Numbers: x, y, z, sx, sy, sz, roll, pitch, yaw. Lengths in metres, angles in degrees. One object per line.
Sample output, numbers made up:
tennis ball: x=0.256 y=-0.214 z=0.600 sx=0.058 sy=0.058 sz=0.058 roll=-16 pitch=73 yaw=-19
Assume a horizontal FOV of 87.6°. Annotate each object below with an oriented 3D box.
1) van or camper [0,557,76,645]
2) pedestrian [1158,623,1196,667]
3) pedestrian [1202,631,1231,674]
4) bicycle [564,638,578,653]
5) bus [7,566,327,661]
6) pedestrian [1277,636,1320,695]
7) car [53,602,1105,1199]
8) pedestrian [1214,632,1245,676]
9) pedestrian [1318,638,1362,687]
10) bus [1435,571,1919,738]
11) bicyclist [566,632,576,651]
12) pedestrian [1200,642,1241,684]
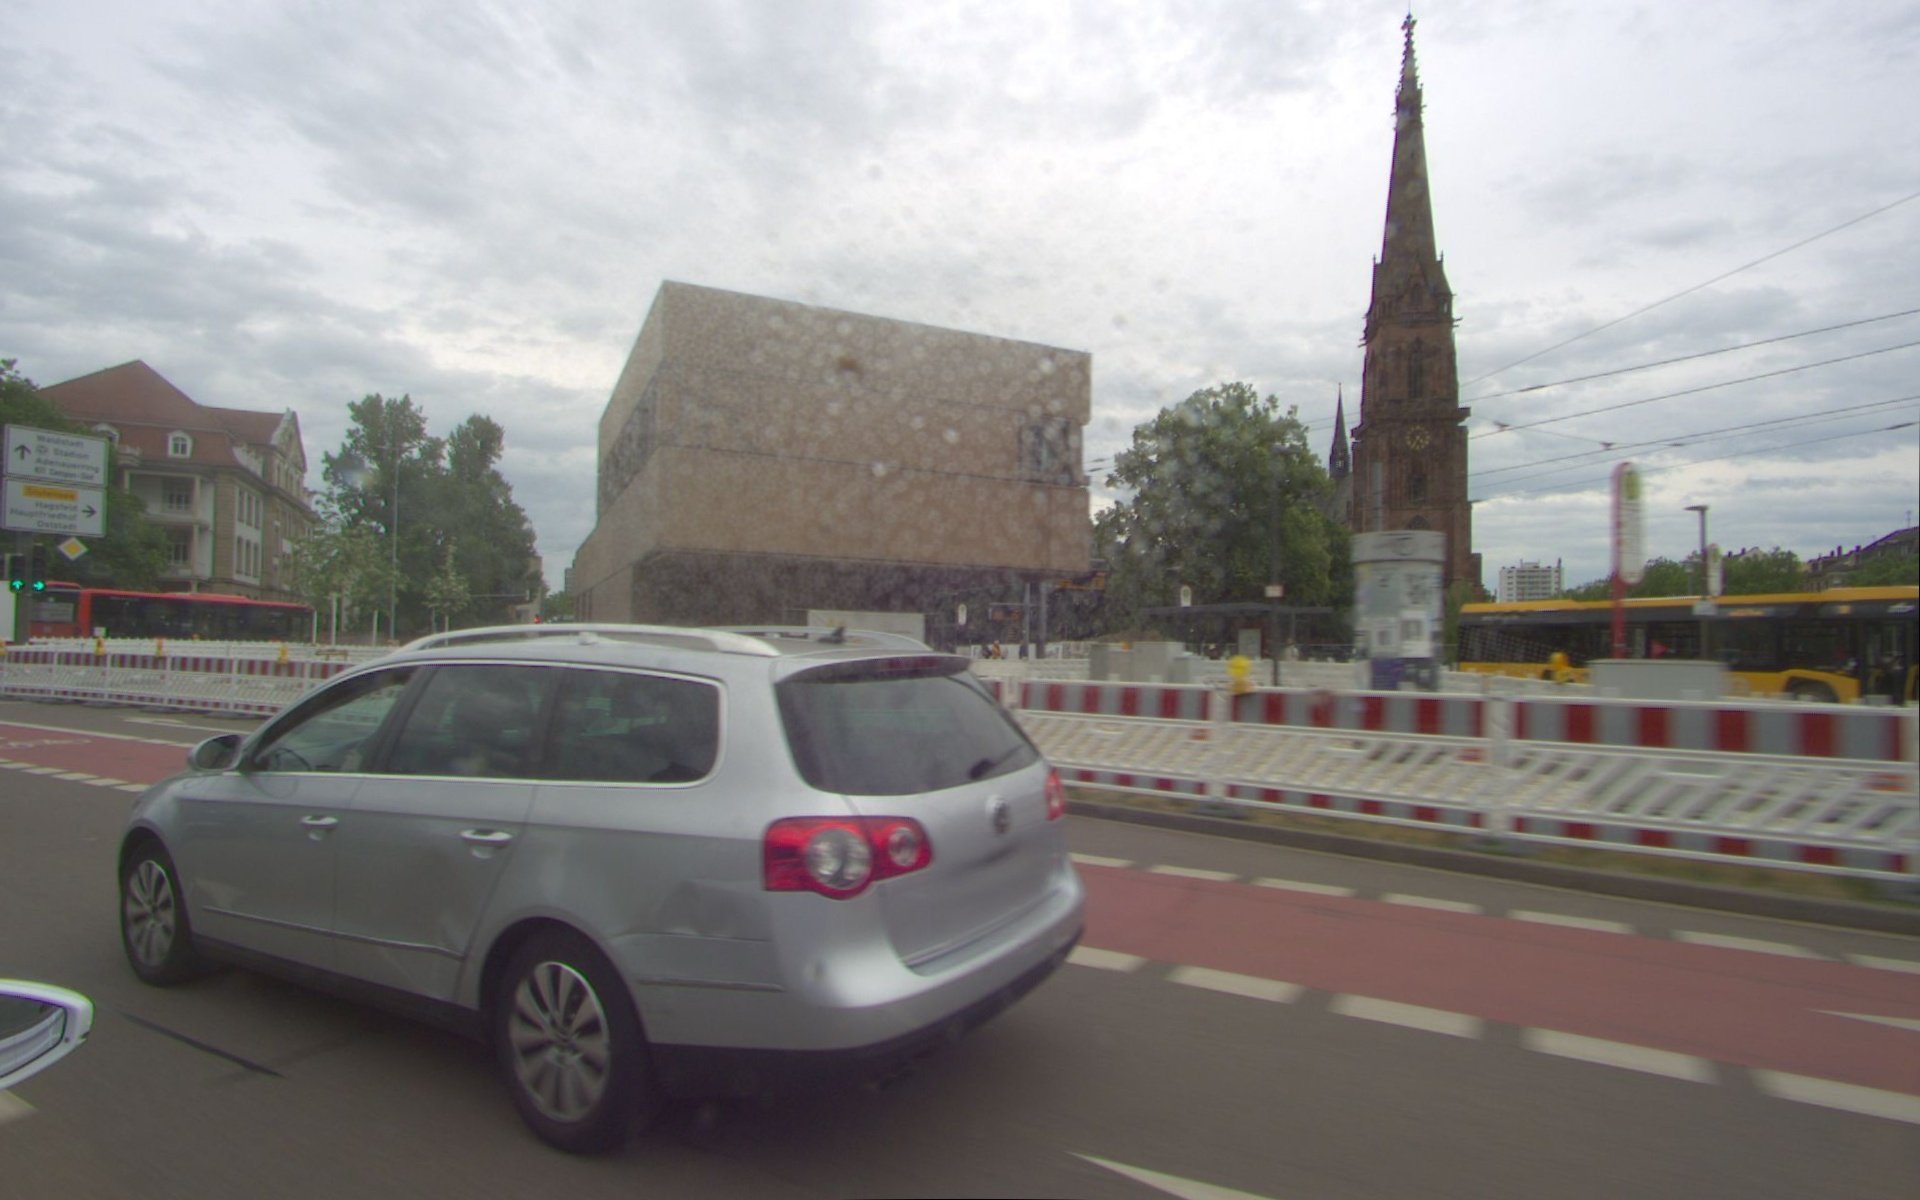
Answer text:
van or camper: x=-38.659 y=0.032 z=38.244 sx=2.822 sy=3.374 sz=7.152 roll=-1 pitch=-2 yaw=10
pedestrian: x=8.023 y=1.650 z=37.071 sx=1.004 sy=1.596 sz=1.005 roll=1 pitch=-1 yaw=-21
pedestrian: x=10.024 y=2.037 z=39.196 sx=0.780 sy=1.666 sz=0.799 roll=1 pitch=-1 yaw=-20
bicycle: x=-33.517 y=3.908 z=86.310 sx=0.617 sy=1.244 sz=1.551 roll=1 pitch=-1 yaw=-1
bus: x=-32.198 y=0.748 z=41.894 sx=3.008 sy=3.339 sz=12.387 roll=1 pitch=-2 yaw=3
pedestrian: x=10.714 y=2.063 z=31.688 sx=0.812 sy=1.831 sz=1.019 roll=1 pitch=-1 yaw=-20
car: x=-1.846 y=0.778 z=4.200 sx=4.561 sy=1.501 sz=1.717 roll=0 pitch=-1 yaw=32
pedestrian: x=10.238 y=2.049 z=38.056 sx=0.772 sy=1.666 sz=0.918 roll=1 pitch=-1 yaw=-20
pedestrian: x=13.300 y=2.187 z=35.059 sx=0.990 sy=1.666 sz=1.019 roll=1 pitch=-1 yaw=-20
bus: x=18.418 y=1.271 z=25.194 sx=2.977 sy=3.309 sz=13.003 roll=2 pitch=-2 yaw=-23
bicyclist: x=-33.505 y=3.583 z=86.227 sx=0.607 sy=1.558 sz=0.562 roll=1 pitch=-1 yaw=-2
pedestrian: x=9.044 y=2.188 z=34.808 sx=1.004 sy=1.420 sz=1.005 roll=1 pitch=-1 yaw=-19
